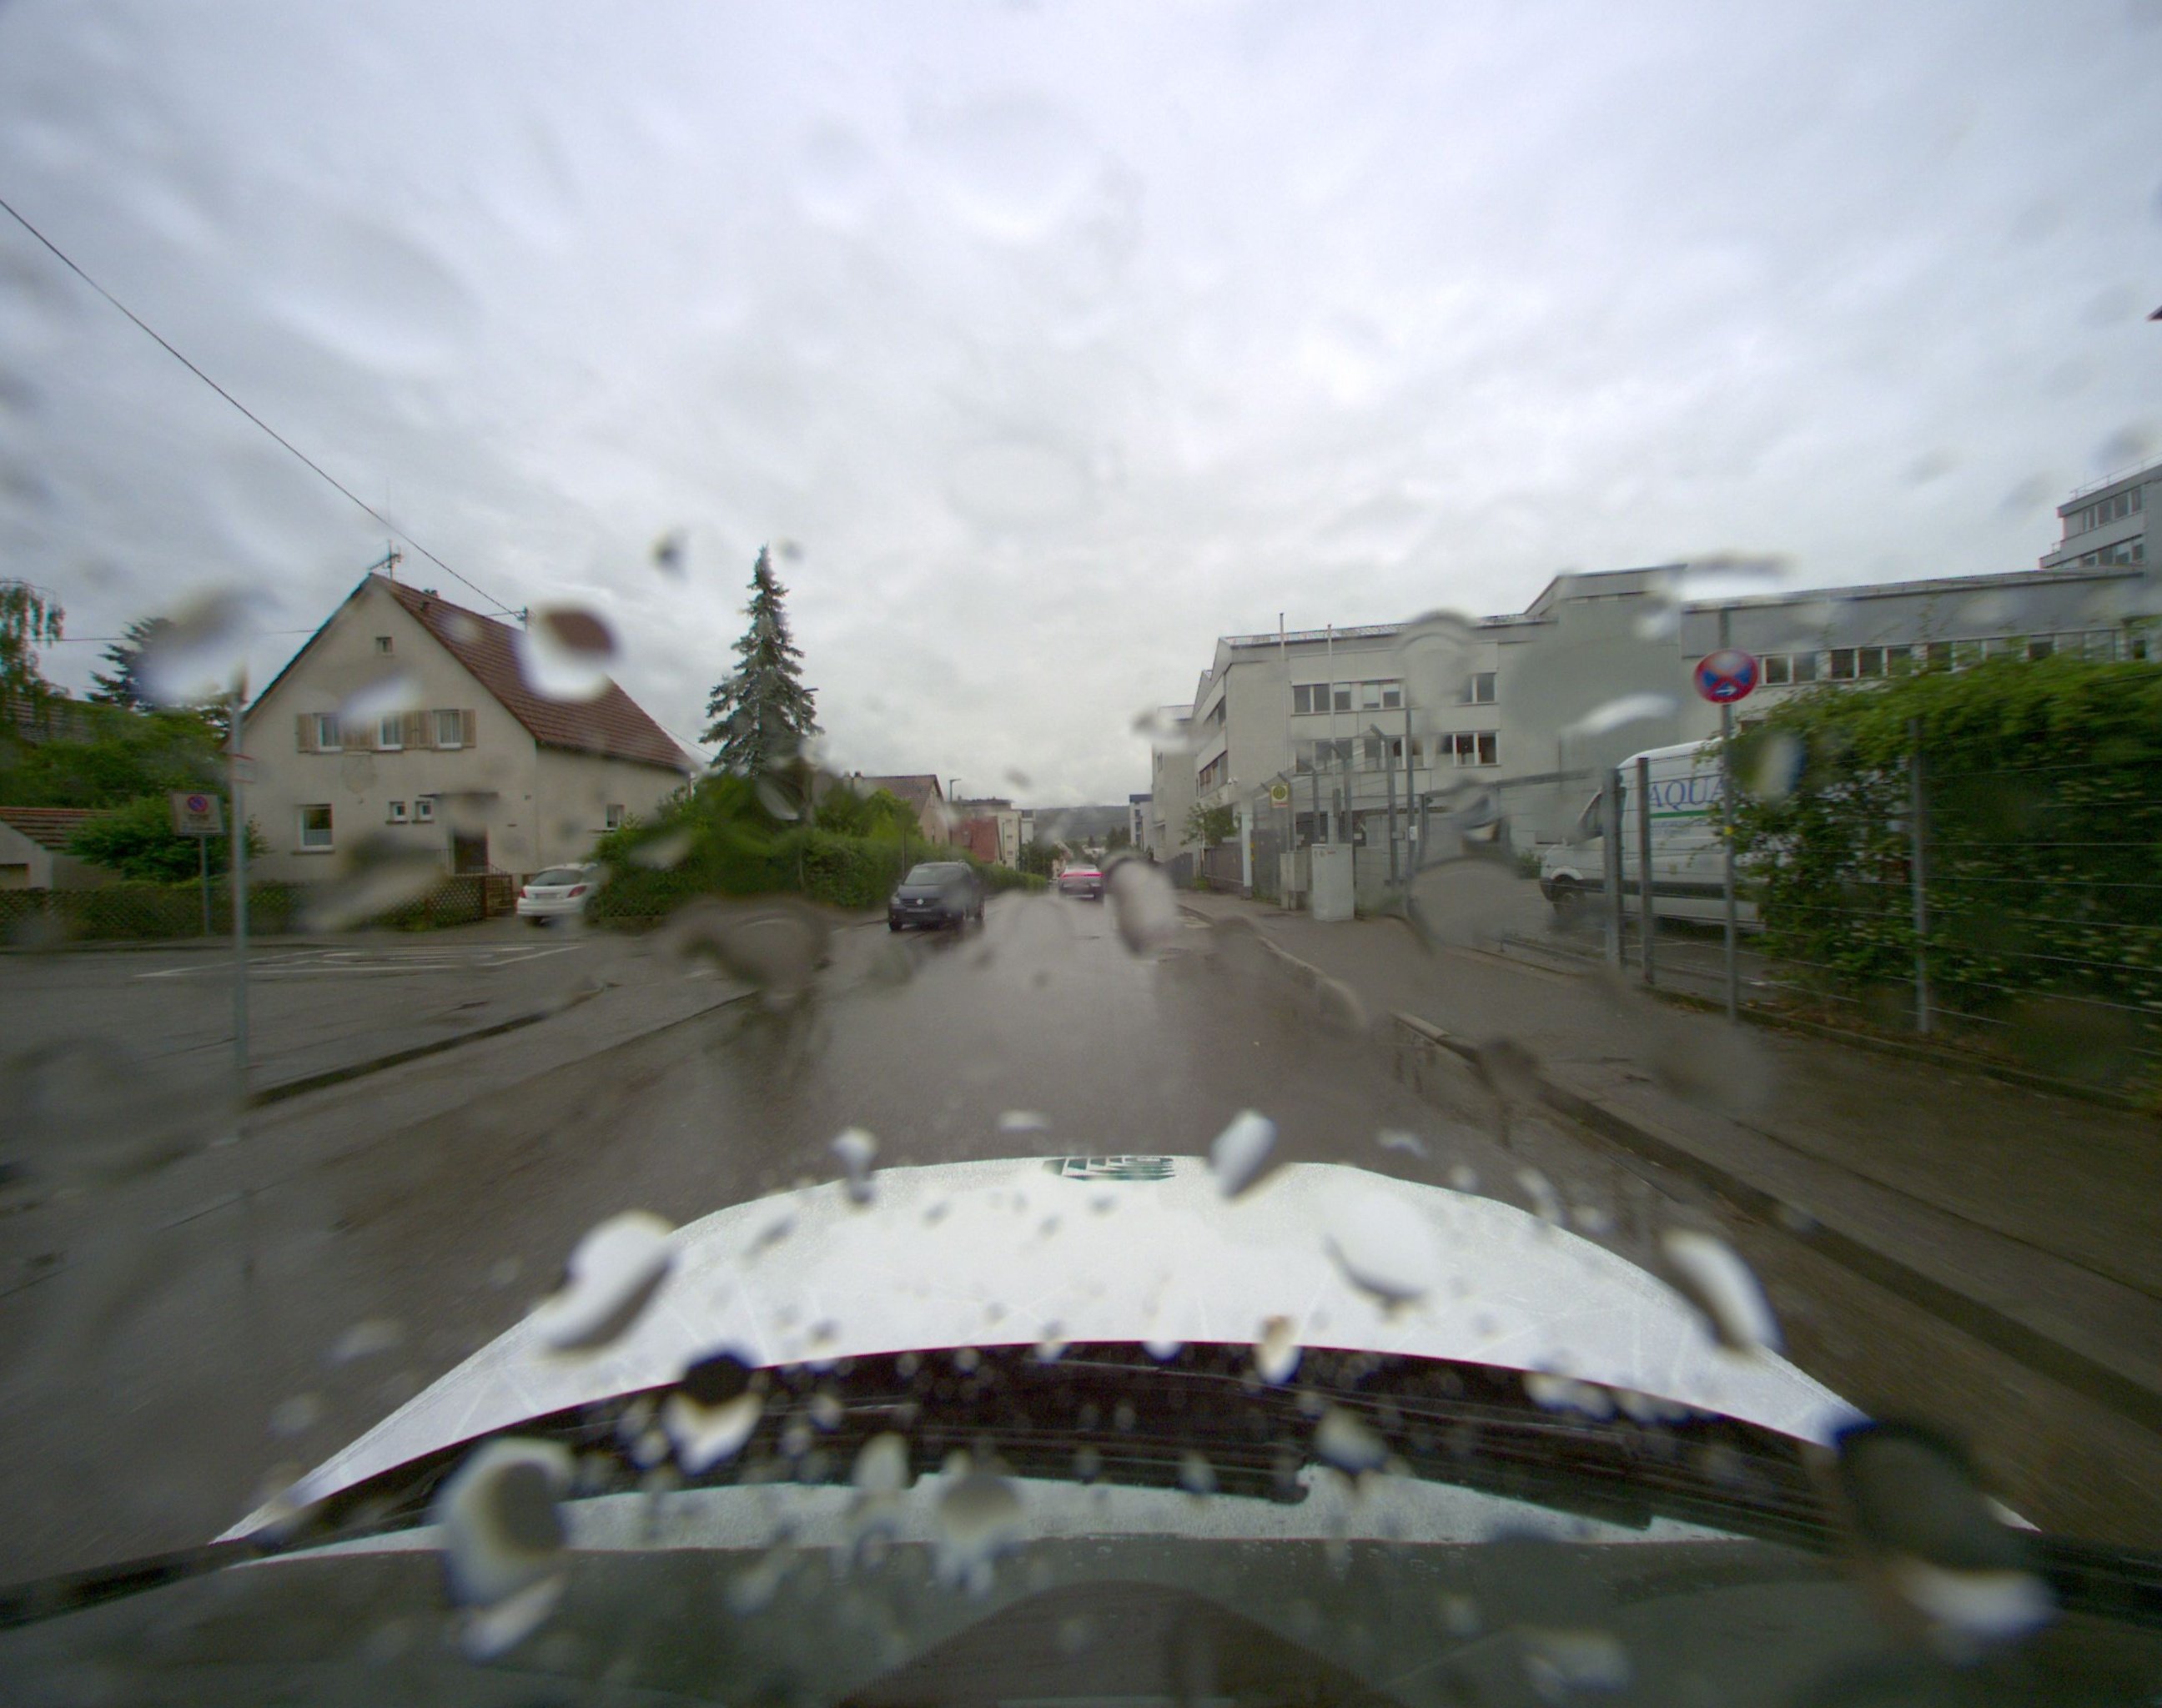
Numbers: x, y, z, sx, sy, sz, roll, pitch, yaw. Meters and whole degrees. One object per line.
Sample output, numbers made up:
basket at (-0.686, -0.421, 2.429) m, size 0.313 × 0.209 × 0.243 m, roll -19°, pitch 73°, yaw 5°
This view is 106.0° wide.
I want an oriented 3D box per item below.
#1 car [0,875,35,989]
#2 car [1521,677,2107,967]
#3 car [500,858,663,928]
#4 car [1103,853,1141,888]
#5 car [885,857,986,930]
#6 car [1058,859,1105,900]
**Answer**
car at (-16.756, 1.084, 10.004) m, size 1.853 × 1.659 × 4.544 m, roll -2°, pitch -2°, yaw 0°
car at (8.719, -0.375, 10.813) m, size 1.991 × 2.684 × 5.941 m, roll -3°, pitch 1°, yaw -6°
car at (-13.199, 0.973, 21.852) m, size 1.788 × 1.508 × 4.002 m, roll -2°, pitch 2°, yaw 1°
car at (2.535, 1.057, 51.378) m, size 1.989 × 2.014 × 3.996 m, roll -3°, pitch -2°, yaw -2°
car at (-3.424, 0.882, 19.880) m, size 1.670 × 1.528 × 4.000 m, roll -2°, pitch 0°, yaw 0°
car at (0.017, 1.115, 37.256) m, size 1.987 × 1.502 × 4.670 m, roll -2°, pitch 2°, yaw 0°
